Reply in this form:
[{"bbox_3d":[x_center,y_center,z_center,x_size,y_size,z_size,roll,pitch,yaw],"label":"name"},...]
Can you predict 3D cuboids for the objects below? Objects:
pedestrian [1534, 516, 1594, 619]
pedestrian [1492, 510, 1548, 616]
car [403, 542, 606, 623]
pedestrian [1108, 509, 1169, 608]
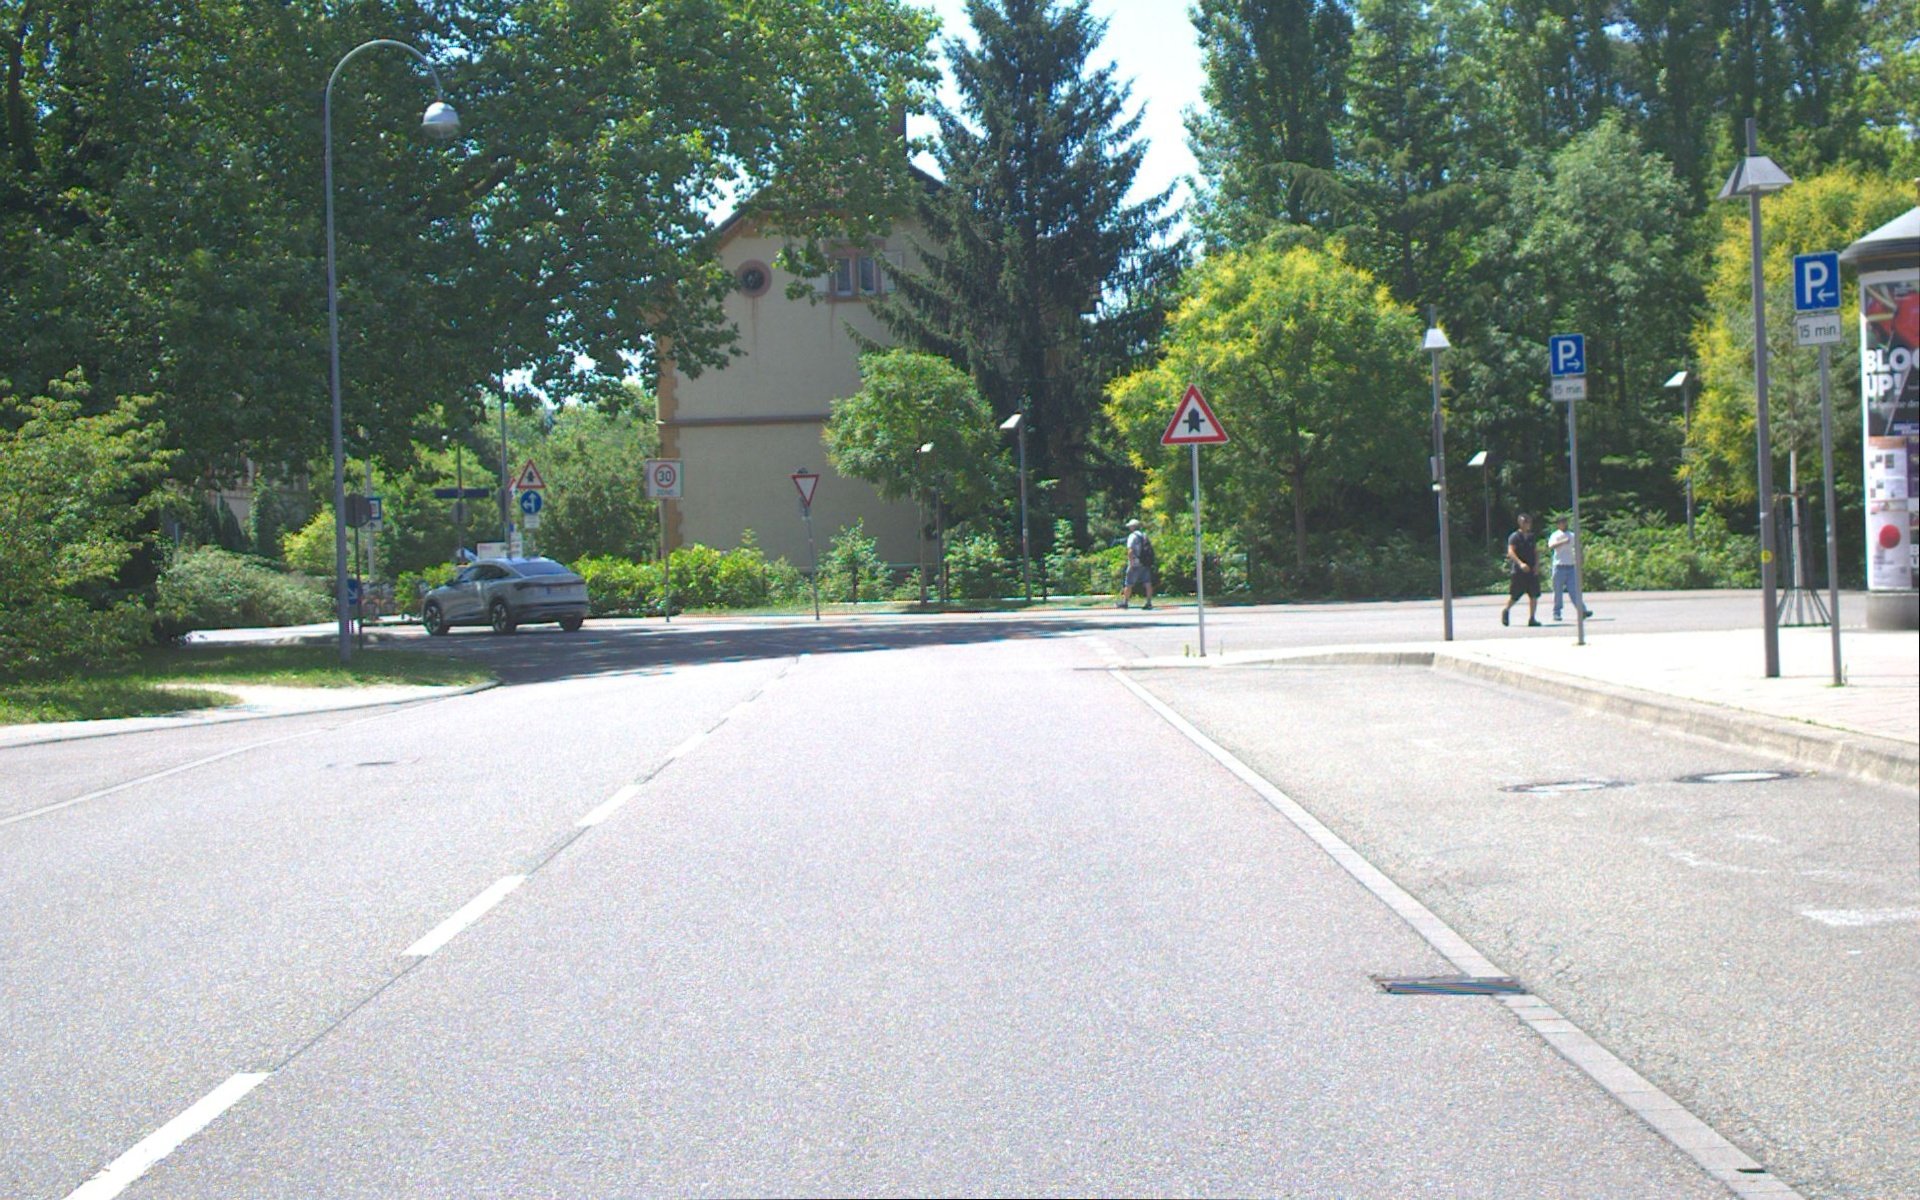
[{"bbox_3d":[9.768,-0.518,55.603,0.721,1.644,0.749,-1,-1,28],"label":"pedestrian"},{"bbox_3d":[8.856,-0.583,54.347,0.636,1.644,0.749,-1,-1,28],"label":"pedestrian"},{"bbox_3d":[-9.955,-0.374,74.841,1.984,1.621,4.776,-3,2,-42],"label":"car"},{"bbox_3d":[3.614,-0.839,69.680,0.804,1.959,0.856,-2,1,-40],"label":"pedestrian"}]
